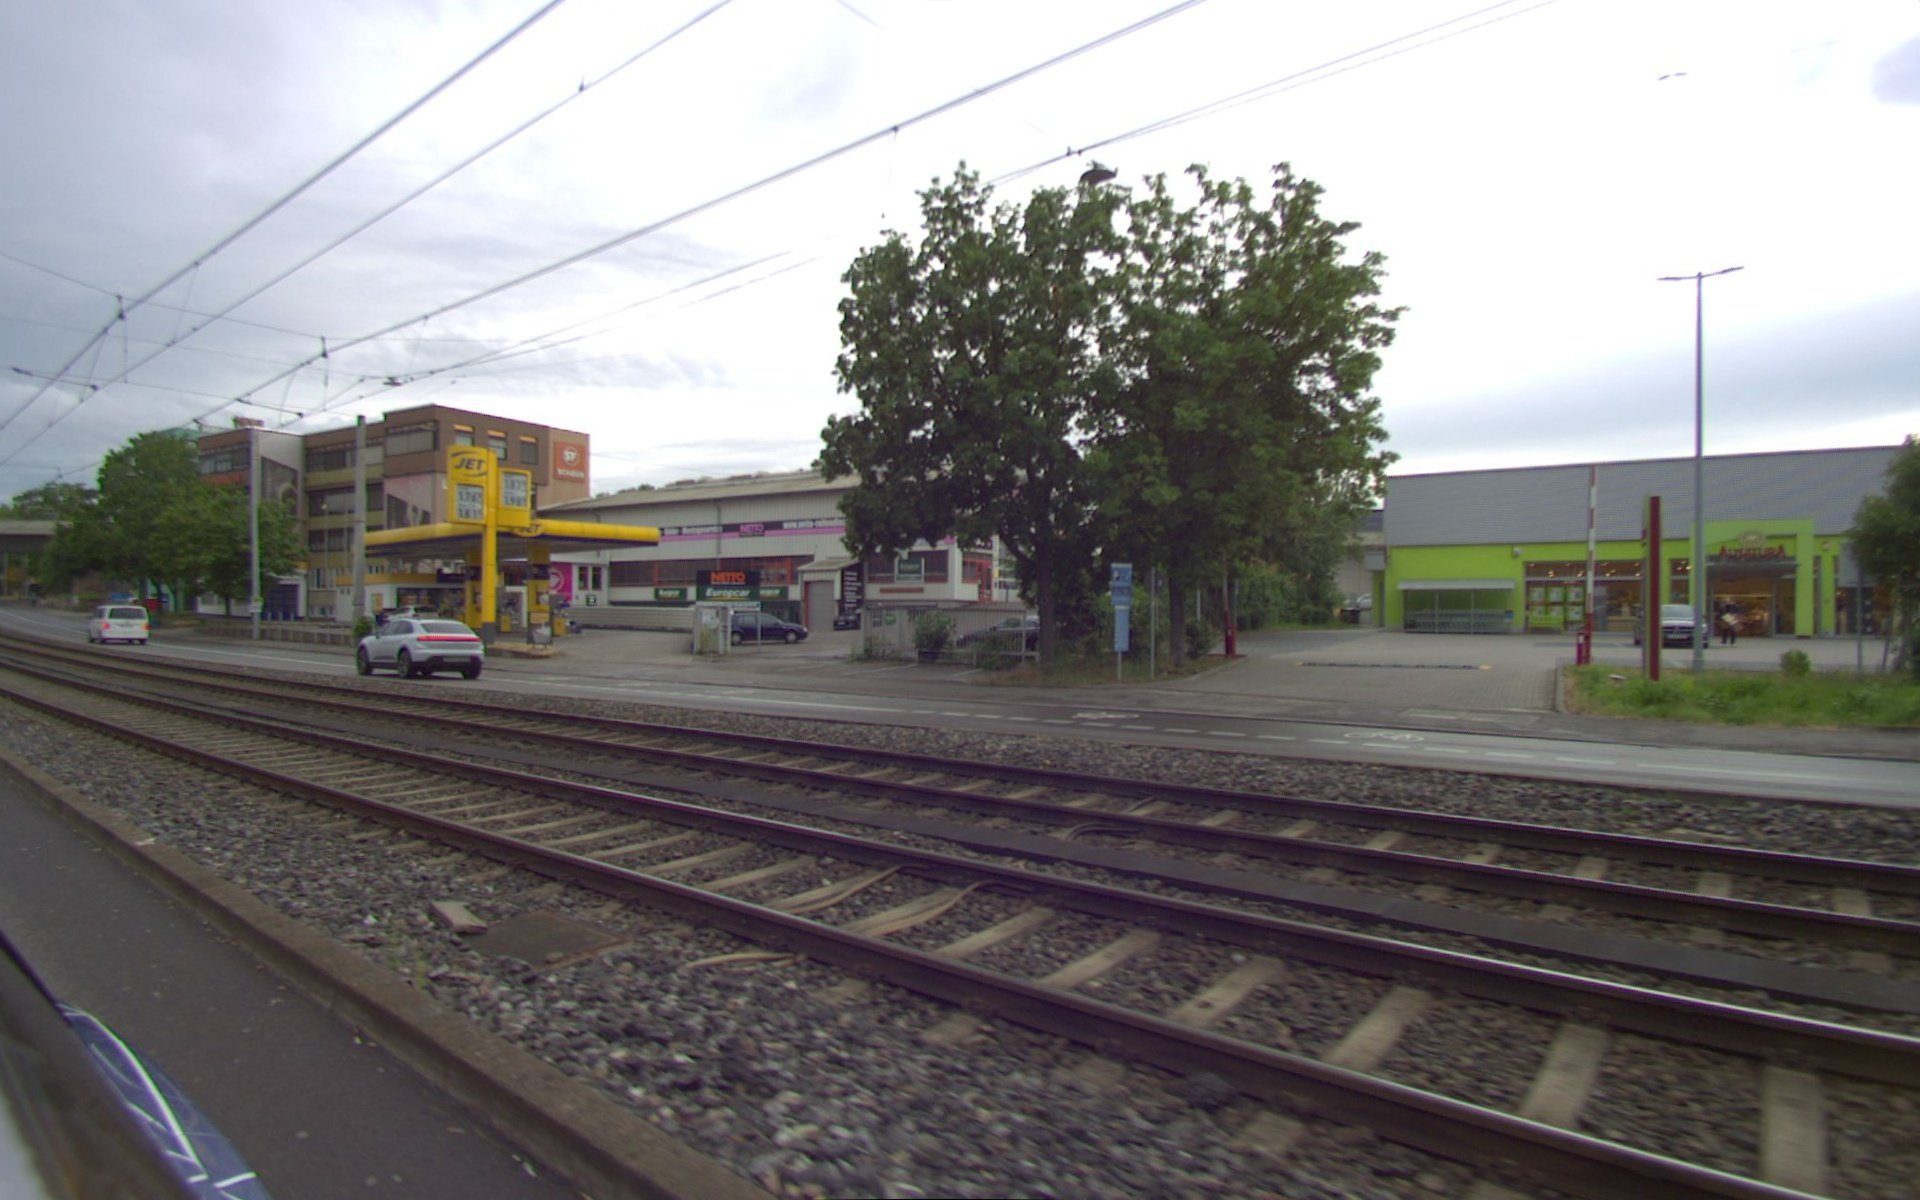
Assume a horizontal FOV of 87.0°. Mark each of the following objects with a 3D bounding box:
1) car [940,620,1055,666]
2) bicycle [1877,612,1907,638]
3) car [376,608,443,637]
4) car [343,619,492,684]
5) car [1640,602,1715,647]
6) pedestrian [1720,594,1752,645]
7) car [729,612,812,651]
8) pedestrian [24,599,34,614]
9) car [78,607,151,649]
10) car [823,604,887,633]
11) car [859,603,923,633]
[{"bbox_3d":[1.364,1.536,37.376,3.987,1.467,1.673,1,1,32],"label":"car"},{"bbox_3d":[36.181,0.961,39.308,0.532,0.989,1.598,-2,-1,32],"label":"bicycle"},{"bbox_3d":[-30.294,1.217,55.667,4.070,1.426,1.753,0,1,38],"label":"car"},{"bbox_3d":[-15.078,1.397,28.039,4.755,1.662,1.973,-1,-3,40],"label":"car"},{"bbox_3d":[23.409,0.754,33.127,1.770,1.355,4.330,-1,-1,33],"label":"car"},{"bbox_3d":[25.198,0.613,32.853,0.758,1.609,0.793,1,1,41],"label":"pedestrian"},{"bbox_3d":[-8.473,1.378,45.164,3.541,1.600,1.707,0,1,-12],"label":"car"},{"bbox_3d":[-105.884,0.736,115.112,1.021,1.657,0.737,0,-1,42],"label":"pedestrian"},{"bbox_3d":[-43.703,1.459,52.269,5.056,2.029,1.973,-1,-4,40],"label":"car"},{"bbox_3d":[-6.411,1.180,62.072,1.845,1.662,4.056,-1,-3,31],"label":"car"},{"bbox_3d":[-4.103,1.127,60.639,1.845,1.662,4.056,-1,-3,31],"label":"car"}]
